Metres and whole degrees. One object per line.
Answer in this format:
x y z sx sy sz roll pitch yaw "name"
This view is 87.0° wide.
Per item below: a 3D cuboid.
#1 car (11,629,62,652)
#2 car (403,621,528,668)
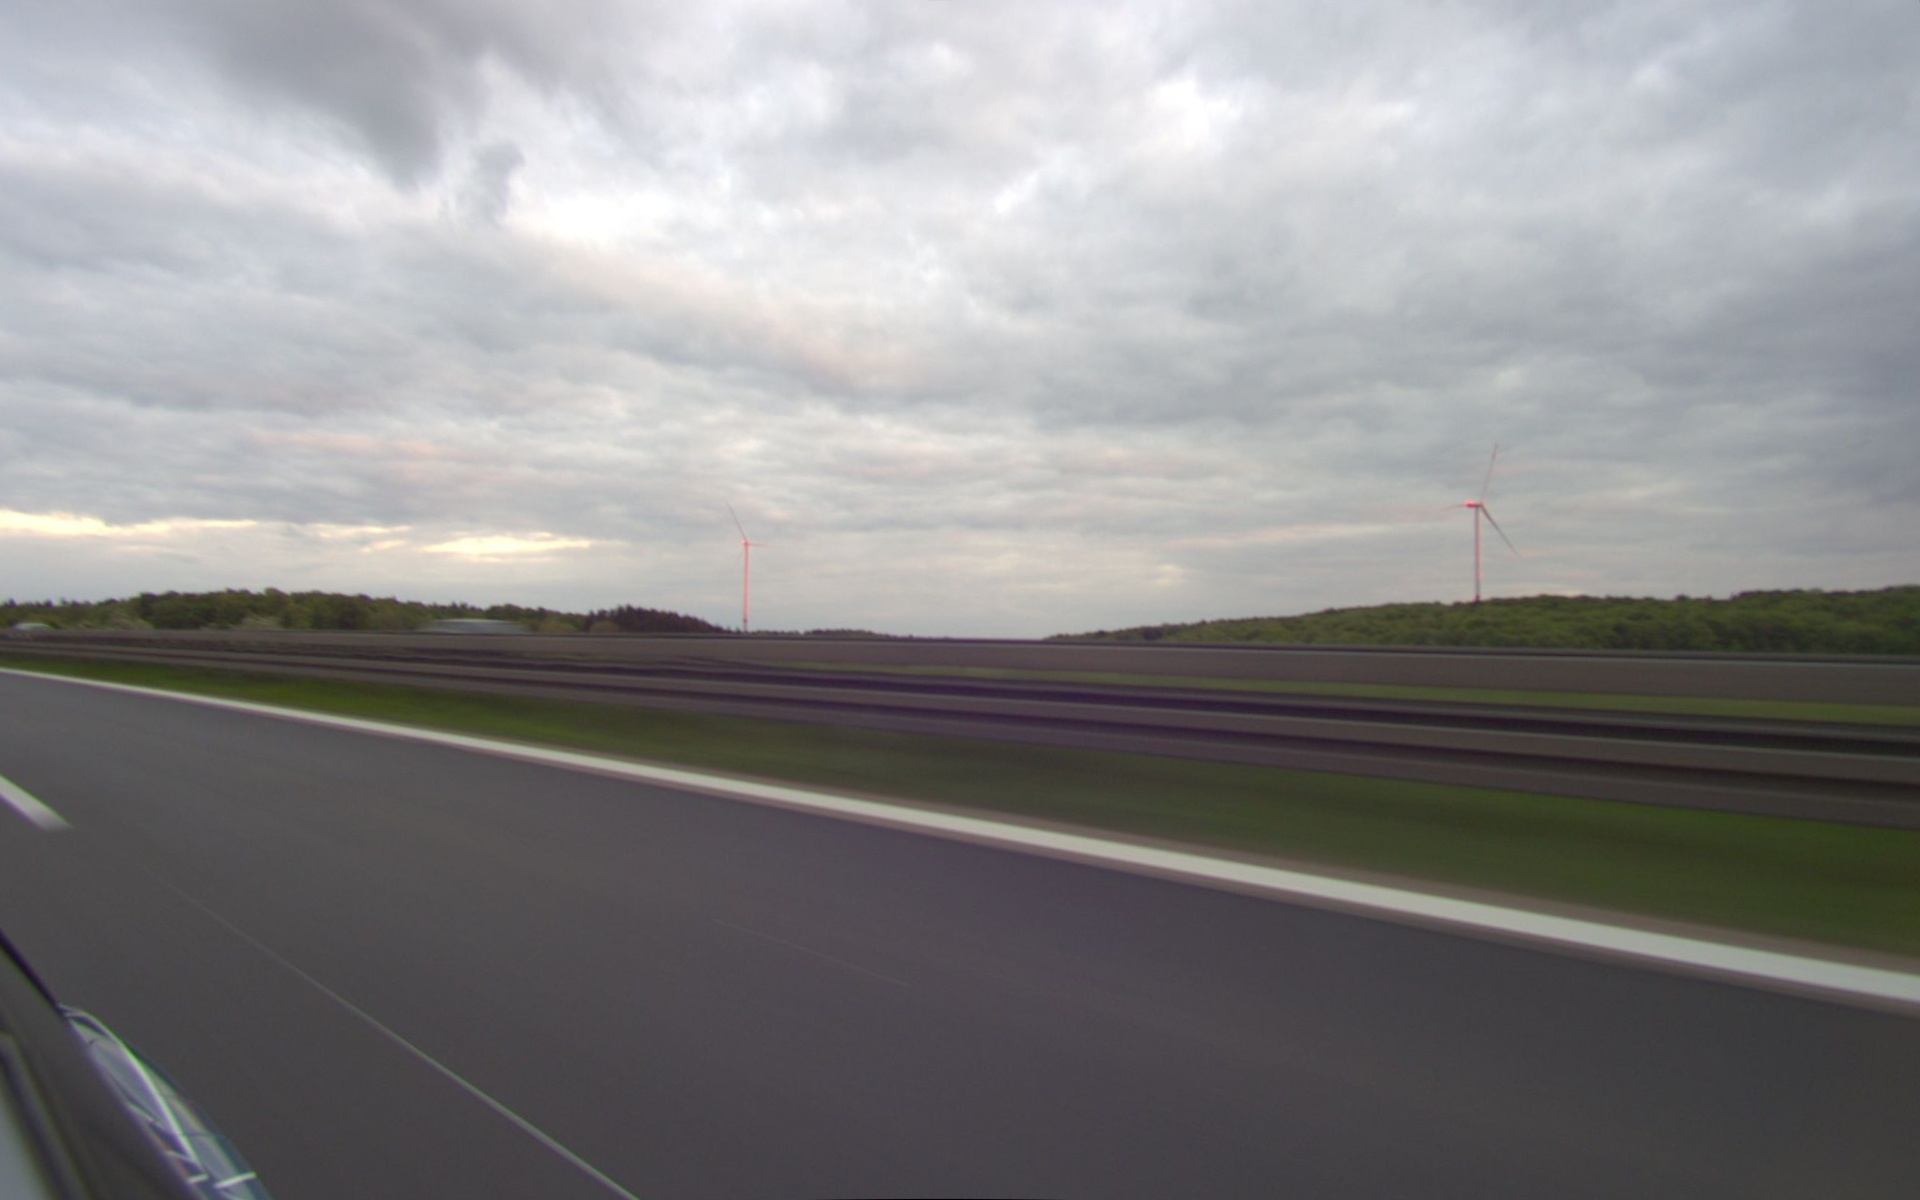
-59.526 2.620 65.219 3.991 1.429 1.639 -2 -1 35 "car"
-15.072 1.366 30.801 3.939 1.298 1.625 -2 -5 34 "car"
